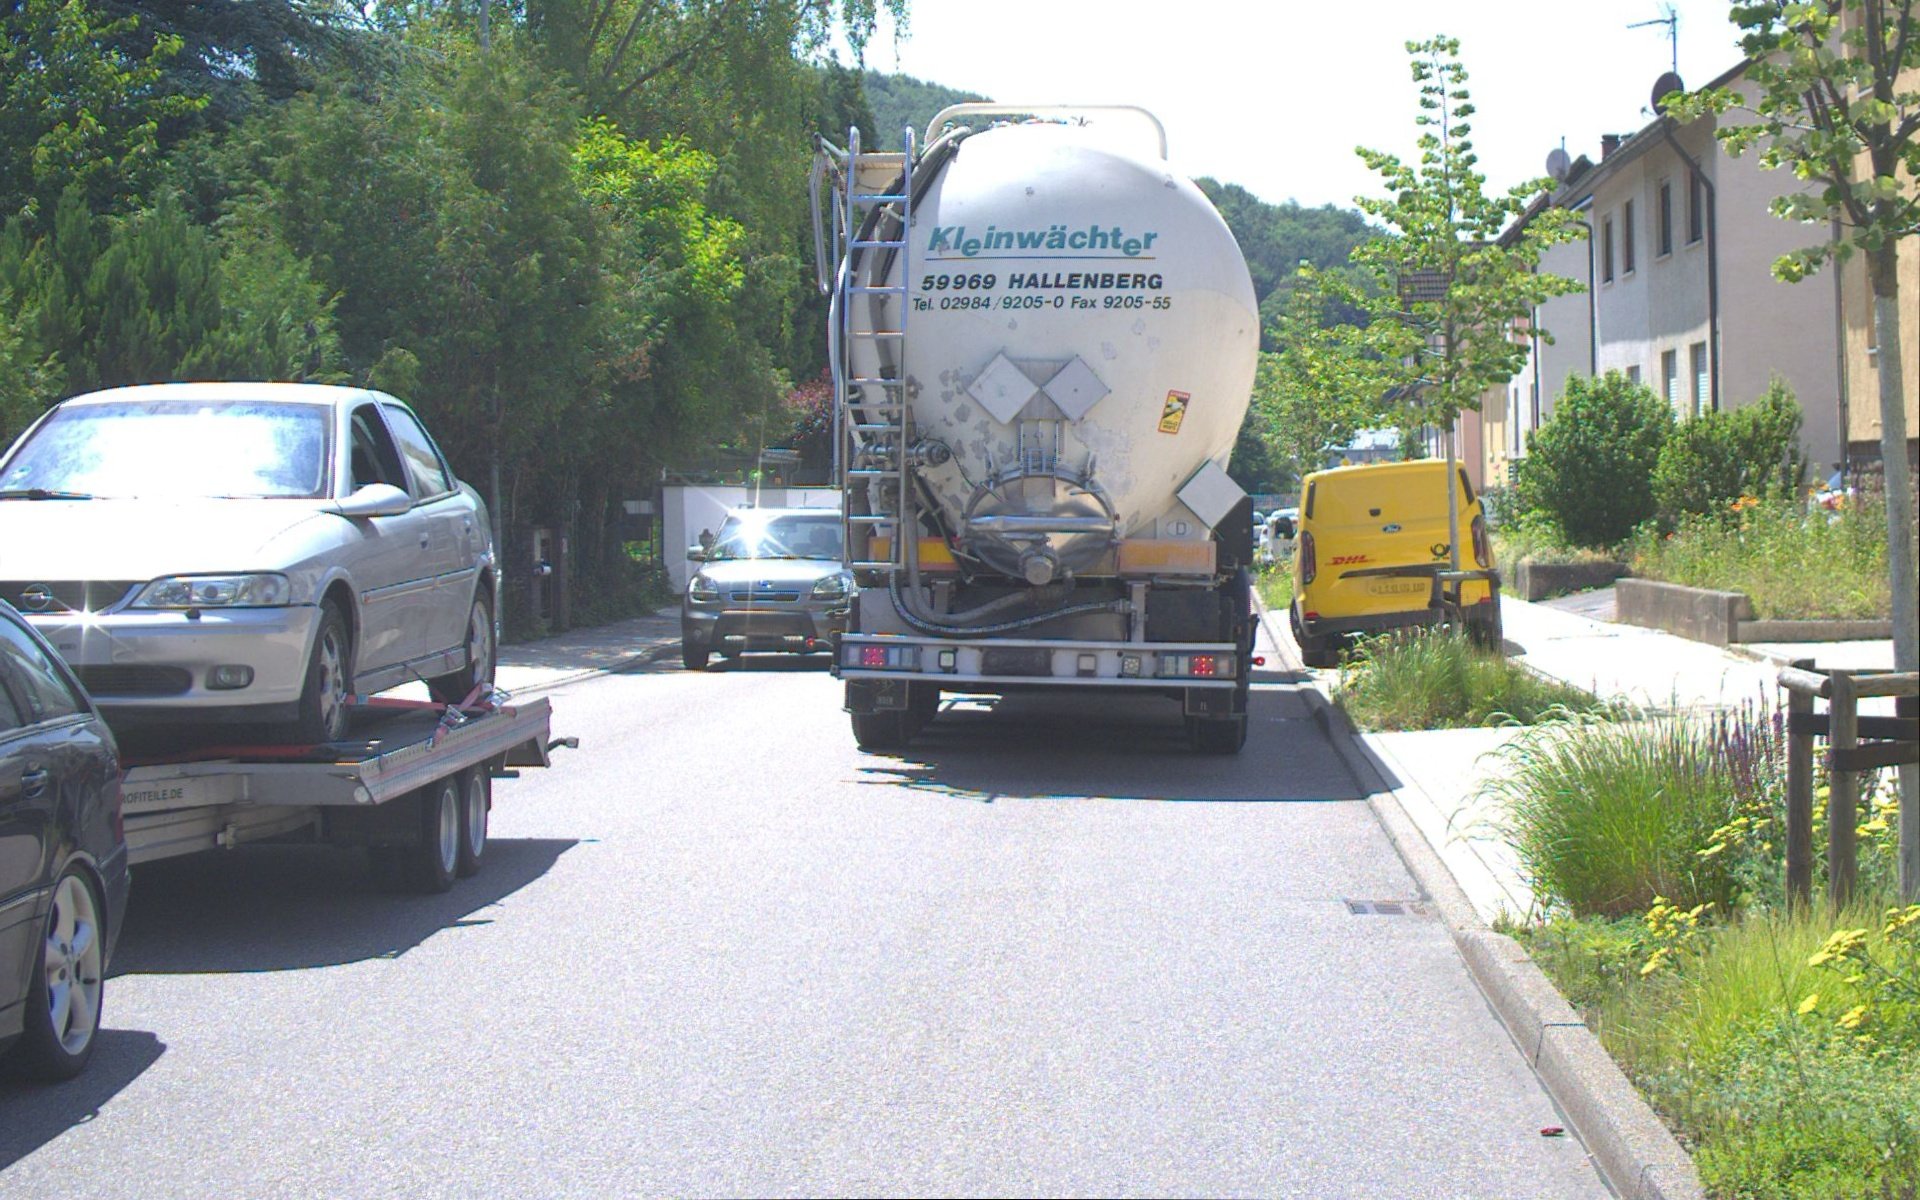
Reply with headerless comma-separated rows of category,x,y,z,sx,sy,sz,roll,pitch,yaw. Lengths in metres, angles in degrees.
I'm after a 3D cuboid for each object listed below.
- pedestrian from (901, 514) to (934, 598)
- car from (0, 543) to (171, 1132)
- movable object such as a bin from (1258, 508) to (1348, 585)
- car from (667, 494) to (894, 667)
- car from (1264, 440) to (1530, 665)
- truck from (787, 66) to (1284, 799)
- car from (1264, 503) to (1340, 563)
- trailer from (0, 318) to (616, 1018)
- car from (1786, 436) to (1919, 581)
pedestrian,-1.017,-1.061,82.838,0.720,2.007,0.804,1,1,3
car,-3.207,0.584,7.675,1.767,1.397,4.248,1,1,2
movable object such as a bin,6.536,-1.016,65.718,1.572,1.412,3.041,-1,1,3
car,-1.784,-0.249,35.393,1.867,1.647,3.948,1,2,4
car,4.474,-0.489,36.082,2.190,2.007,5.622,-5,0,3
truck,0.827,-1.074,24.512,2.750,4.043,10.888,0,2,4
car,8.950,-1.748,90.224,1.756,1.413,4.632,-3,0,4
trailer,-2.802,0.147,12.917,2.155,1.980,6.201,1,1,2
car,12.454,-1.221,42.472,3.987,1.671,1.874,-4,1,2
